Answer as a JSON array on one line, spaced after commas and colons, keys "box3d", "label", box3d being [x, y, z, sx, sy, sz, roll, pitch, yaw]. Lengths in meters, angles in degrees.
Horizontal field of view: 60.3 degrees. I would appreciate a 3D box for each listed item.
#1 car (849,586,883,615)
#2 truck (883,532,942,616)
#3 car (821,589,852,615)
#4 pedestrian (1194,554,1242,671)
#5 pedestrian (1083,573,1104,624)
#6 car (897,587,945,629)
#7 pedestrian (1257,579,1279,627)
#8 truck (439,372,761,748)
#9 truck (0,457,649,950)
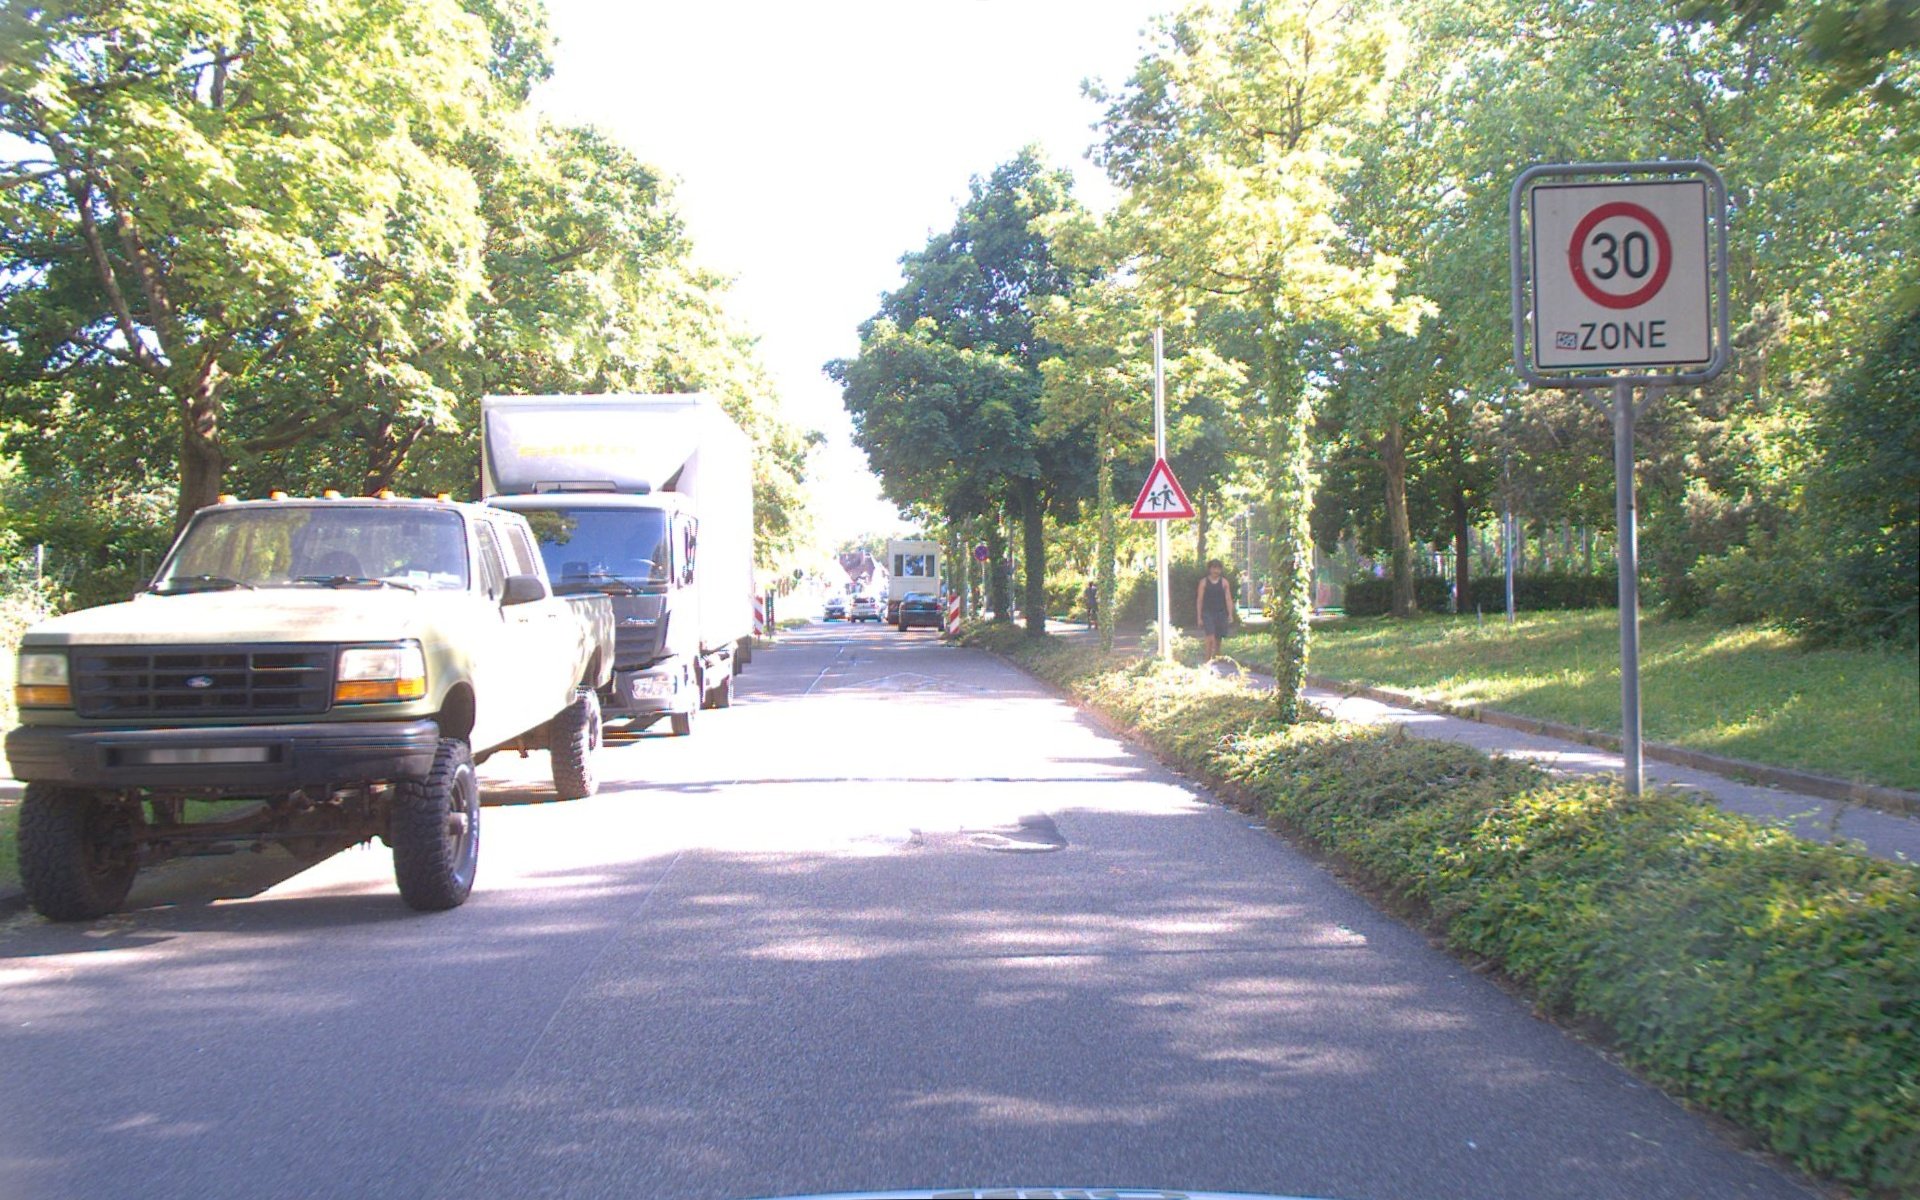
[{"box3d": [-5.190, 0.021, 91.901, 1.758, 1.537, 3.999, -1, 0, -2], "label": "car"}, {"box3d": [-2.448, -1.304, 84.536, 2.829, 4.013, 9.997, -1, 1, -2], "label": "truck"}, {"box3d": [-7.504, 0.116, 100.761, 1.758, 1.537, 3.999, -1, 0, -2], "label": "car"}, {"box3d": [4.144, 0.200, 26.567, 0.635, 1.852, 0.650, -1, 0, -2], "label": "pedestrian"}, {"box3d": [4.430, -0.060, 54.966, 0.635, 1.690, 0.650, -1, 0, -1], "label": "pedestrian"}, {"box3d": [-1.481, 0.283, 62.315, 1.758, 1.537, 3.999, -1, 0, -2], "label": "car"}, {"box3d": [10.823, 0.107, 58.196, 0.635, 1.690, 0.650, -1, 0, -1], "label": "pedestrian"}, {"box3d": [-4.046, -0.428, 20.399, 2.562, 3.690, 7.952, -1, 0, -3], "label": "truck"}, {"box3d": [-3.491, 0.428, 10.642, 2.071, 2.130, 6.643, -1, 0, -4], "label": "truck"}]
